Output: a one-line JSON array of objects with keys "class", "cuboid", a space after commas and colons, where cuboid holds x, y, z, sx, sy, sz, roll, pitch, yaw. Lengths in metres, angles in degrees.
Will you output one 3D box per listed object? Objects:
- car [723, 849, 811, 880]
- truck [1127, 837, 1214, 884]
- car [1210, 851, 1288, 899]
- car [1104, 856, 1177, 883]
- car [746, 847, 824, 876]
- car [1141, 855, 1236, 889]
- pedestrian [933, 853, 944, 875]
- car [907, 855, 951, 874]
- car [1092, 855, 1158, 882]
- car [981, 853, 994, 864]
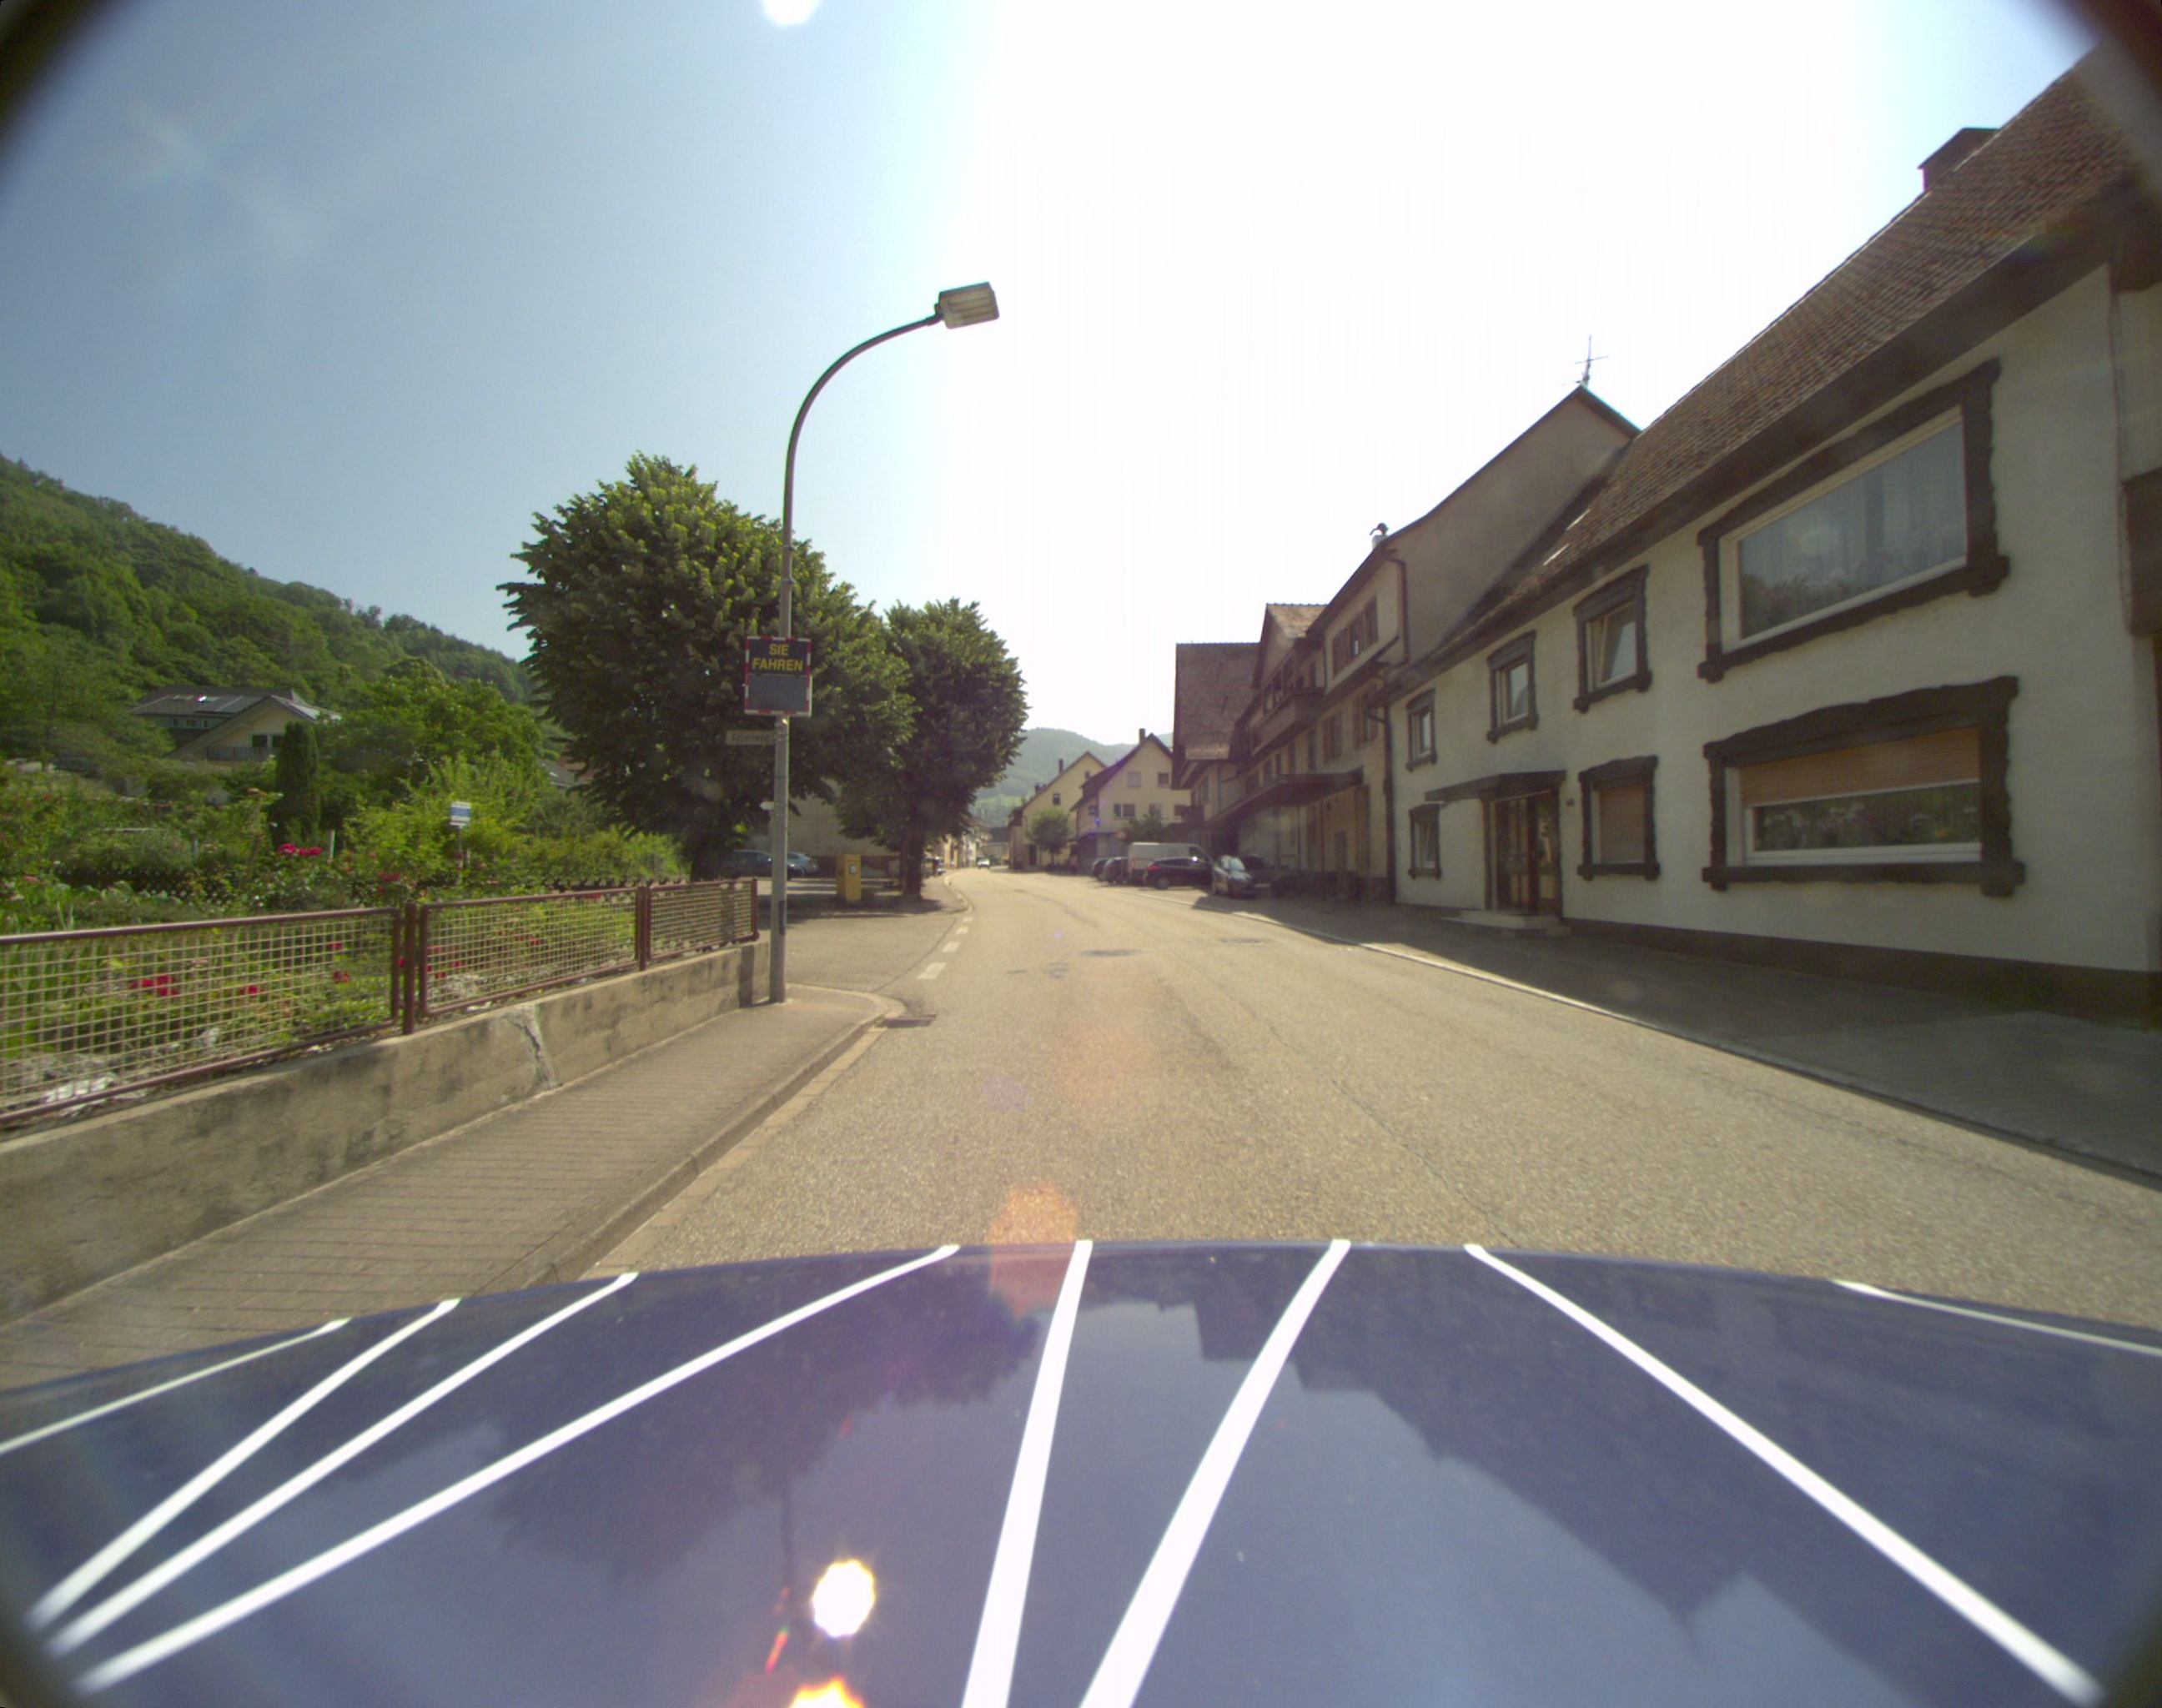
[{"class": "car", "cuboid": [-15.842, 0.533, 38.485, 3.847, 1.398, 1.564, 2, 0, -13]}, {"class": "truck", "cuboid": [4.660, 0.336, 39.842, 4.177, 2.253, 1.999, -2, 0, -4]}, {"class": "car", "cuboid": [5.989, 0.706, 27.561, 1.774, 1.544, 4.285, -2, 0, -1]}, {"class": "car", "cuboid": [3.378, 0.892, 43.811, 3.998, 1.444, 1.627, 1, 0, -3]}, {"class": "car", "cuboid": [-16.940, 0.434, 43.690, 3.951, 1.462, 1.653, 2, 0, -14]}, {"class": "car", "cuboid": [4.885, 0.808, 34.839, 4.105, 1.494, 1.753, -1, 0, 0]}, {"class": "pedestrian", "cuboid": [-10.767, 0.755, 57.382, 0.682, 1.661, 0.712, 1, 0, 1]}, {"class": "car", "cuboid": [-13.091, 0.901, 65.531, 3.340, 1.587, 1.652, 1, 0, 14]}, {"class": "car", "cuboid": [2.709, 0.889, 46.803, 3.996, 1.563, 1.577, 1, 0, 3]}, {"class": "car", "cuboid": [-17.082, 0.820, 139.459, 1.999, 2.002, 3.999, -1, 0, -2]}]
